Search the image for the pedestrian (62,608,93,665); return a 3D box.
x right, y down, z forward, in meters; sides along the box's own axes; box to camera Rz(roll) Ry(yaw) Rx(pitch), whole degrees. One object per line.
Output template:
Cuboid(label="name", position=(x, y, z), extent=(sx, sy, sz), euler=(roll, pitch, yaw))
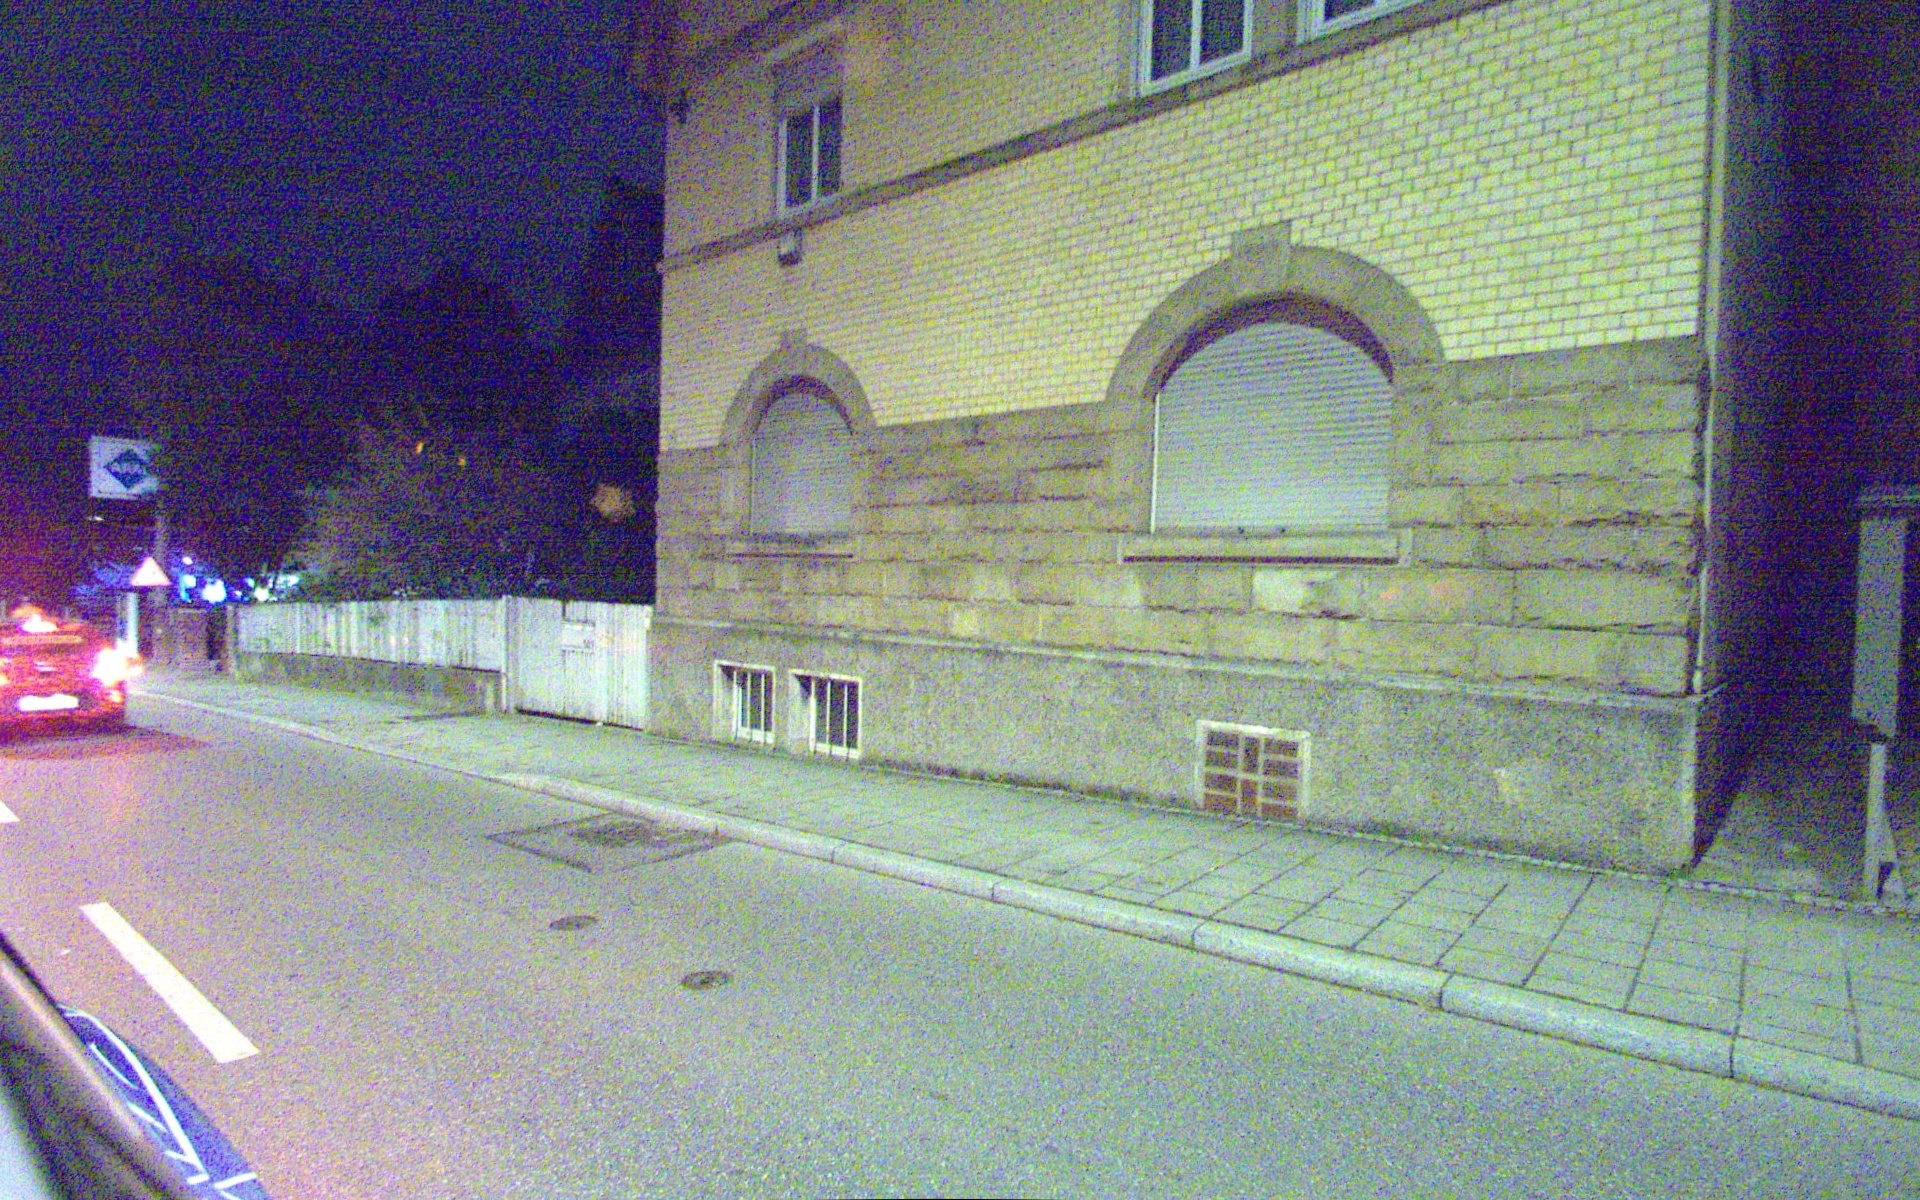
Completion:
Cuboid(label="pedestrian", position=(-27.566, 1.130, 31.622), extent=(0.500, 1.773, 0.664), euler=(-1, 0, 41))

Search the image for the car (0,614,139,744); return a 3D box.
Cuboid(label="car", position=(-11.982, 1.006, 12.840), extent=(3.482, 1.453, 1.733), euler=(-5, -2, 39))
